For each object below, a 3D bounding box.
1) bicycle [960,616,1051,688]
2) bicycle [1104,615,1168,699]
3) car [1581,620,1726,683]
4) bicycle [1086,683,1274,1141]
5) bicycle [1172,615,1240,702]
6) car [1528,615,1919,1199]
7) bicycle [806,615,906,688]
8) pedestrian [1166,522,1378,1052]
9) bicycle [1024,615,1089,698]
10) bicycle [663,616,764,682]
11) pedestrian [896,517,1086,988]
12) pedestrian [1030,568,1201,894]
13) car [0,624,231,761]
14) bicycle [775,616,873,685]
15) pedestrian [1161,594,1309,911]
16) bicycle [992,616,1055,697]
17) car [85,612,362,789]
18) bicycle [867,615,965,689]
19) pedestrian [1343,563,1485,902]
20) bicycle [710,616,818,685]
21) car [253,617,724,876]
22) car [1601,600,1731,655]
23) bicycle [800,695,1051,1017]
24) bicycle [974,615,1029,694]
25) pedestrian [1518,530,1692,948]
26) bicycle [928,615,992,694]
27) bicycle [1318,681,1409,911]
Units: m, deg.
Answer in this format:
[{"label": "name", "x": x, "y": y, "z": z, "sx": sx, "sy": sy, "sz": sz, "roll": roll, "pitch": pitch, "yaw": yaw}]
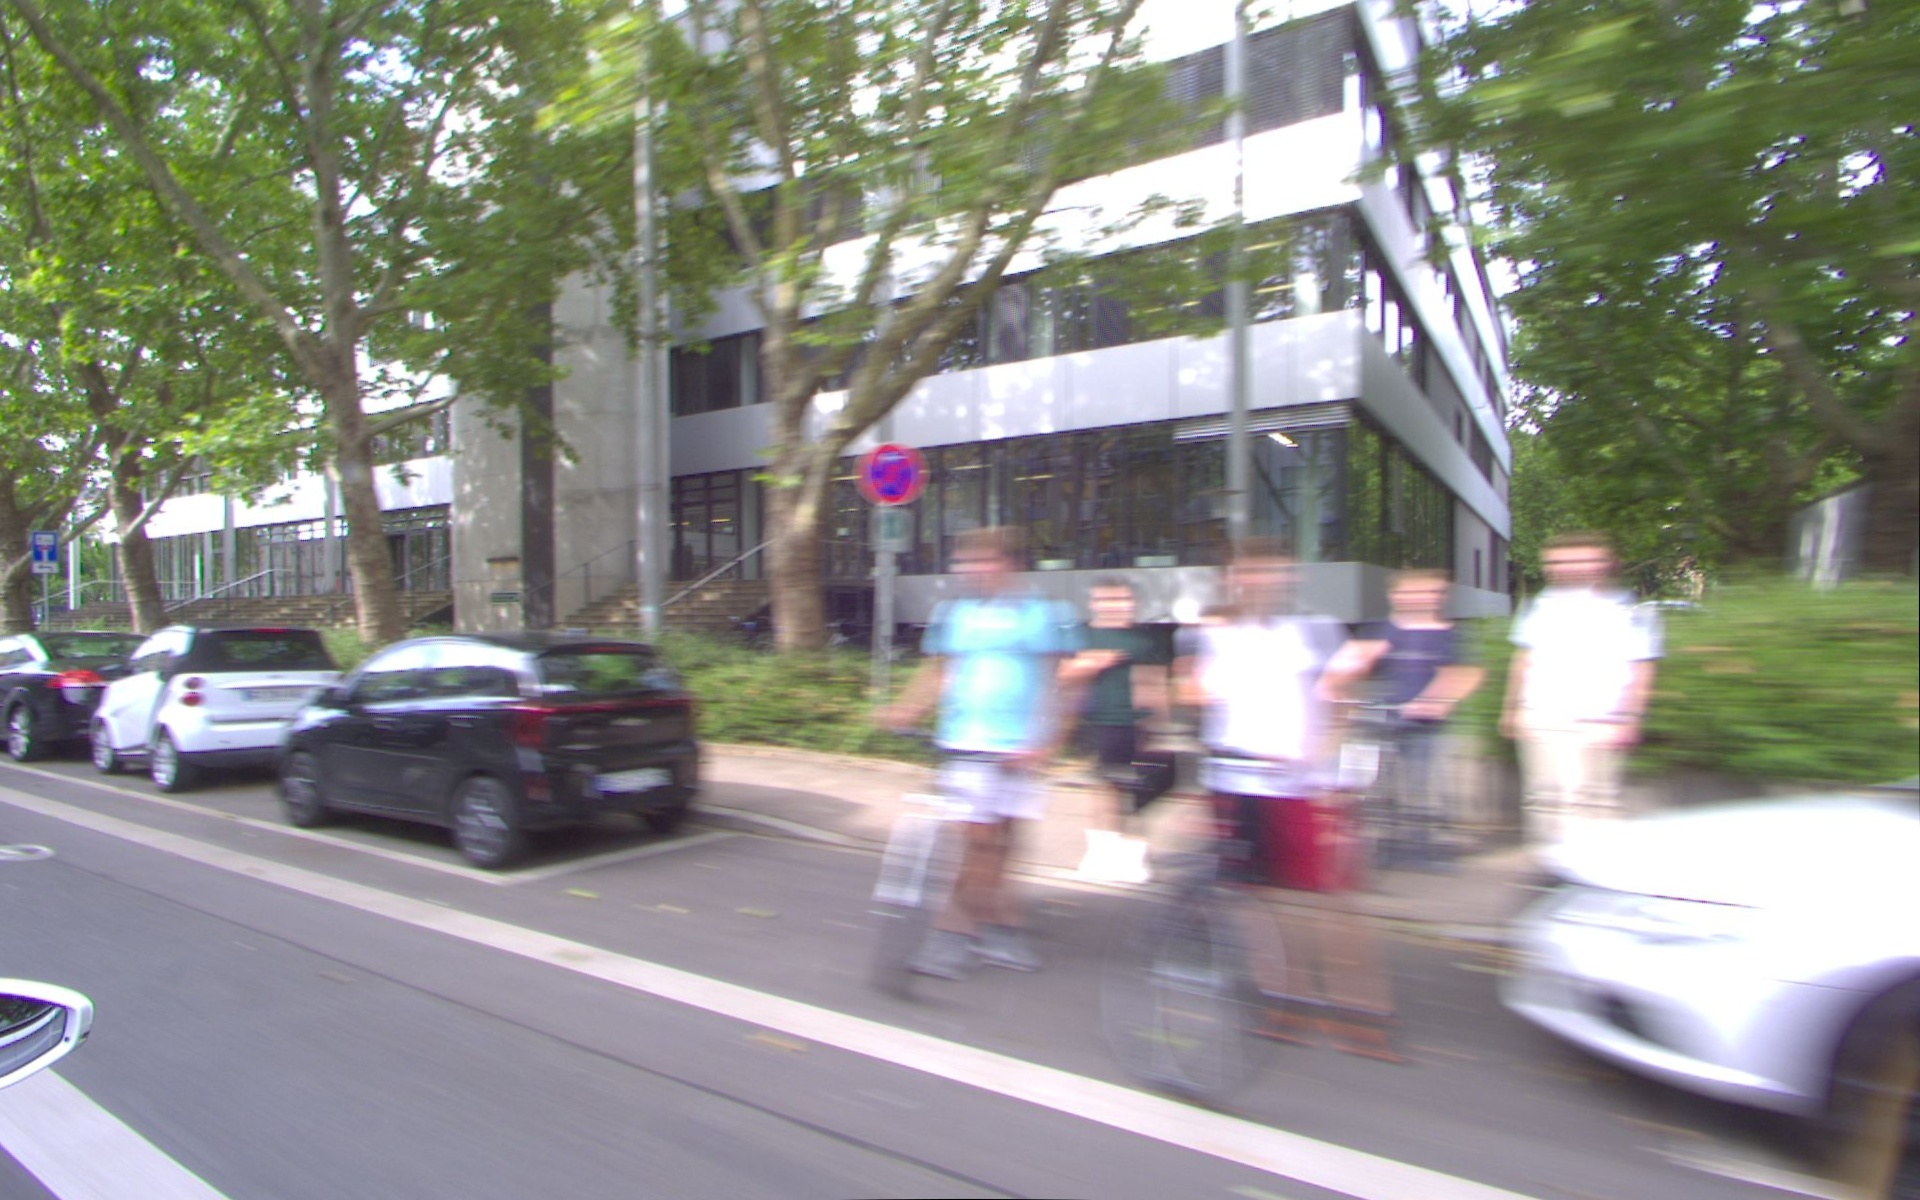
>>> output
[{"label": "bicycle", "x": 0.741, "y": 0.834, "z": 16.507, "sx": 1.415, "sy": 1.132, "sz": 0.490, "roll": 0, "pitch": 1, "yaw": 27}, {"label": "bicycle", "x": 2.590, "y": 0.801, "z": 14.641, "sx": 0.461, "sy": 1.132, "sz": 1.443, "roll": 0, "pitch": 1, "yaw": 29}, {"label": "car", "x": 28.564, "y": 2.092, "z": 41.468, "sx": 4.719, "sy": 2.438, "sz": 2.222, "roll": 0, "pitch": -2, "yaw": 30}, {"label": "bicycle", "x": 0.884, "y": 0.984, "z": 3.855, "sx": 0.543, "sy": 1.233, "sz": 1.794, "roll": 0, "pitch": -2, "yaw": 15}, {"label": "bicycle", "x": 3.519, "y": 0.791, "z": 14.225, "sx": 0.595, "sy": 1.132, "sz": 1.673, "roll": 0, "pitch": 1, "yaw": 26}, {"label": "car", "x": 4.033, "y": 0.841, "z": 2.567, "sx": 4.477, "sy": 1.535, "sz": 1.679, "roll": 0, "pitch": -3, "yaw": 31}, {"label": "bicycle", "x": -1.739, "y": 0.843, "z": 17.090, "sx": 0.664, "sy": 1.132, "sz": 1.911, "roll": 0, "pitch": 1, "yaw": 32}, {"label": "pedestrian", "x": 1.203, "y": 0.667, "z": 3.899, "sx": 0.731, "sy": 1.869, "sz": 0.521, "roll": 0, "pitch": -1, "yaw": 18}, {"label": "bicycle", "x": 1.447, "y": 0.808, "z": 14.827, "sx": 0.461, "sy": 1.132, "sz": 1.538, "roll": 0, "pitch": 1, "yaw": 25}, {"label": "bicycle", "x": -4.600, "y": 0.896, "z": 18.839, "sx": 0.664, "sy": 1.132, "sz": 1.911, "roll": 0, "pitch": 1, "yaw": 32}, {"label": "pedestrian", "x": 0.151, "y": 0.641, "z": 4.531, "sx": 0.732, "sy": 1.959, "sz": 0.475, "roll": 0, "pitch": -1, "yaw": 22}, {"label": "pedestrian", "x": 0.981, "y": 0.756, "z": 6.238, "sx": 0.769, "sy": 1.840, "sz": 0.869, "roll": 0, "pitch": -1, "yaw": 32}, {"label": "car", "x": -11.084, "y": 1.030, "z": 12.403, "sx": 4.356, "sy": 1.443, "sz": 1.696, "roll": -1, "pitch": -2, "yaw": 30}, {"label": "bicycle", "x": -2.401, "y": 0.869, "z": 17.932, "sx": 0.664, "sy": 1.132, "sz": 1.911, "roll": 0, "pitch": 1, "yaw": 32}, {"label": "pedestrian", "x": 1.604, "y": 0.821, "z": 5.794, "sx": 0.645, "sy": 1.679, "sz": 0.720, "roll": 0, "pitch": -1, "yaw": 32}, {"label": "bicycle", "x": 0.958, "y": 0.810, "z": 14.869, "sx": 0.461, "sy": 1.132, "sz": 1.378, "roll": 0, "pitch": 1, "yaw": 25}, {"label": "car", "x": -7.524, "y": 0.929, "z": 10.210, "sx": 2.564, "sy": 1.563, "sz": 1.532, "roll": -1, "pitch": -2, "yaw": 35}, {"label": "bicycle", "x": -0.698, "y": 0.833, "z": 16.731, "sx": 0.664, "sy": 1.132, "sz": 1.911, "roll": 0, "pitch": 1, "yaw": 32}, {"label": "pedestrian", "x": 2.754, "y": 0.748, "z": 6.053, "sx": 0.693, "sy": 1.879, "sz": 0.720, "roll": 0, "pitch": -1, "yaw": 32}, {"label": "bicycle", "x": -3.507, "y": 0.874, "z": 18.102, "sx": 0.664, "sy": 1.132, "sz": 2.074, "roll": 0, "pitch": 1, "yaw": 32}, {"label": "car", "x": -3.621, "y": 0.908, "z": 7.530, "sx": 3.608, "sy": 1.521, "sz": 1.526, "roll": -1, "pitch": -2, "yaw": 33}, {"label": "car", "x": 32.725, "y": 1.299, "z": 46.617, "sx": 4.719, "sy": 2.438, "sz": 2.222, "roll": 0, "pitch": -2, "yaw": 30}, {"label": "bicycle", "x": -0.074, "y": 1.069, "z": 4.751, "sx": 0.543, "sy": 1.119, "sz": 1.737, "roll": 0, "pitch": -2, "yaw": 21}, {"label": "bicycle", "x": 0.657, "y": 0.817, "z": 15.520, "sx": 0.502, "sy": 1.132, "sz": 1.380, "roll": 0, "pitch": 1, "yaw": 18}, {"label": "pedestrian", "x": 3.440, "y": 0.686, "z": 5.381, "sx": 0.739, "sy": 2.023, "sz": 0.792, "roll": 0, "pitch": -1, "yaw": 32}, {"label": "bicycle", "x": 0.024, "y": 0.814, "z": 15.584, "sx": 0.611, "sy": 1.132, "sz": 1.697, "roll": 0, "pitch": 0, "yaw": 13}, {"label": "bicycle", "x": 2.509, "y": 1.128, "z": 6.287, "sx": 0.454, "sy": 1.146, "sz": 1.770, "roll": 0, "pitch": -2, "yaw": 21}]
